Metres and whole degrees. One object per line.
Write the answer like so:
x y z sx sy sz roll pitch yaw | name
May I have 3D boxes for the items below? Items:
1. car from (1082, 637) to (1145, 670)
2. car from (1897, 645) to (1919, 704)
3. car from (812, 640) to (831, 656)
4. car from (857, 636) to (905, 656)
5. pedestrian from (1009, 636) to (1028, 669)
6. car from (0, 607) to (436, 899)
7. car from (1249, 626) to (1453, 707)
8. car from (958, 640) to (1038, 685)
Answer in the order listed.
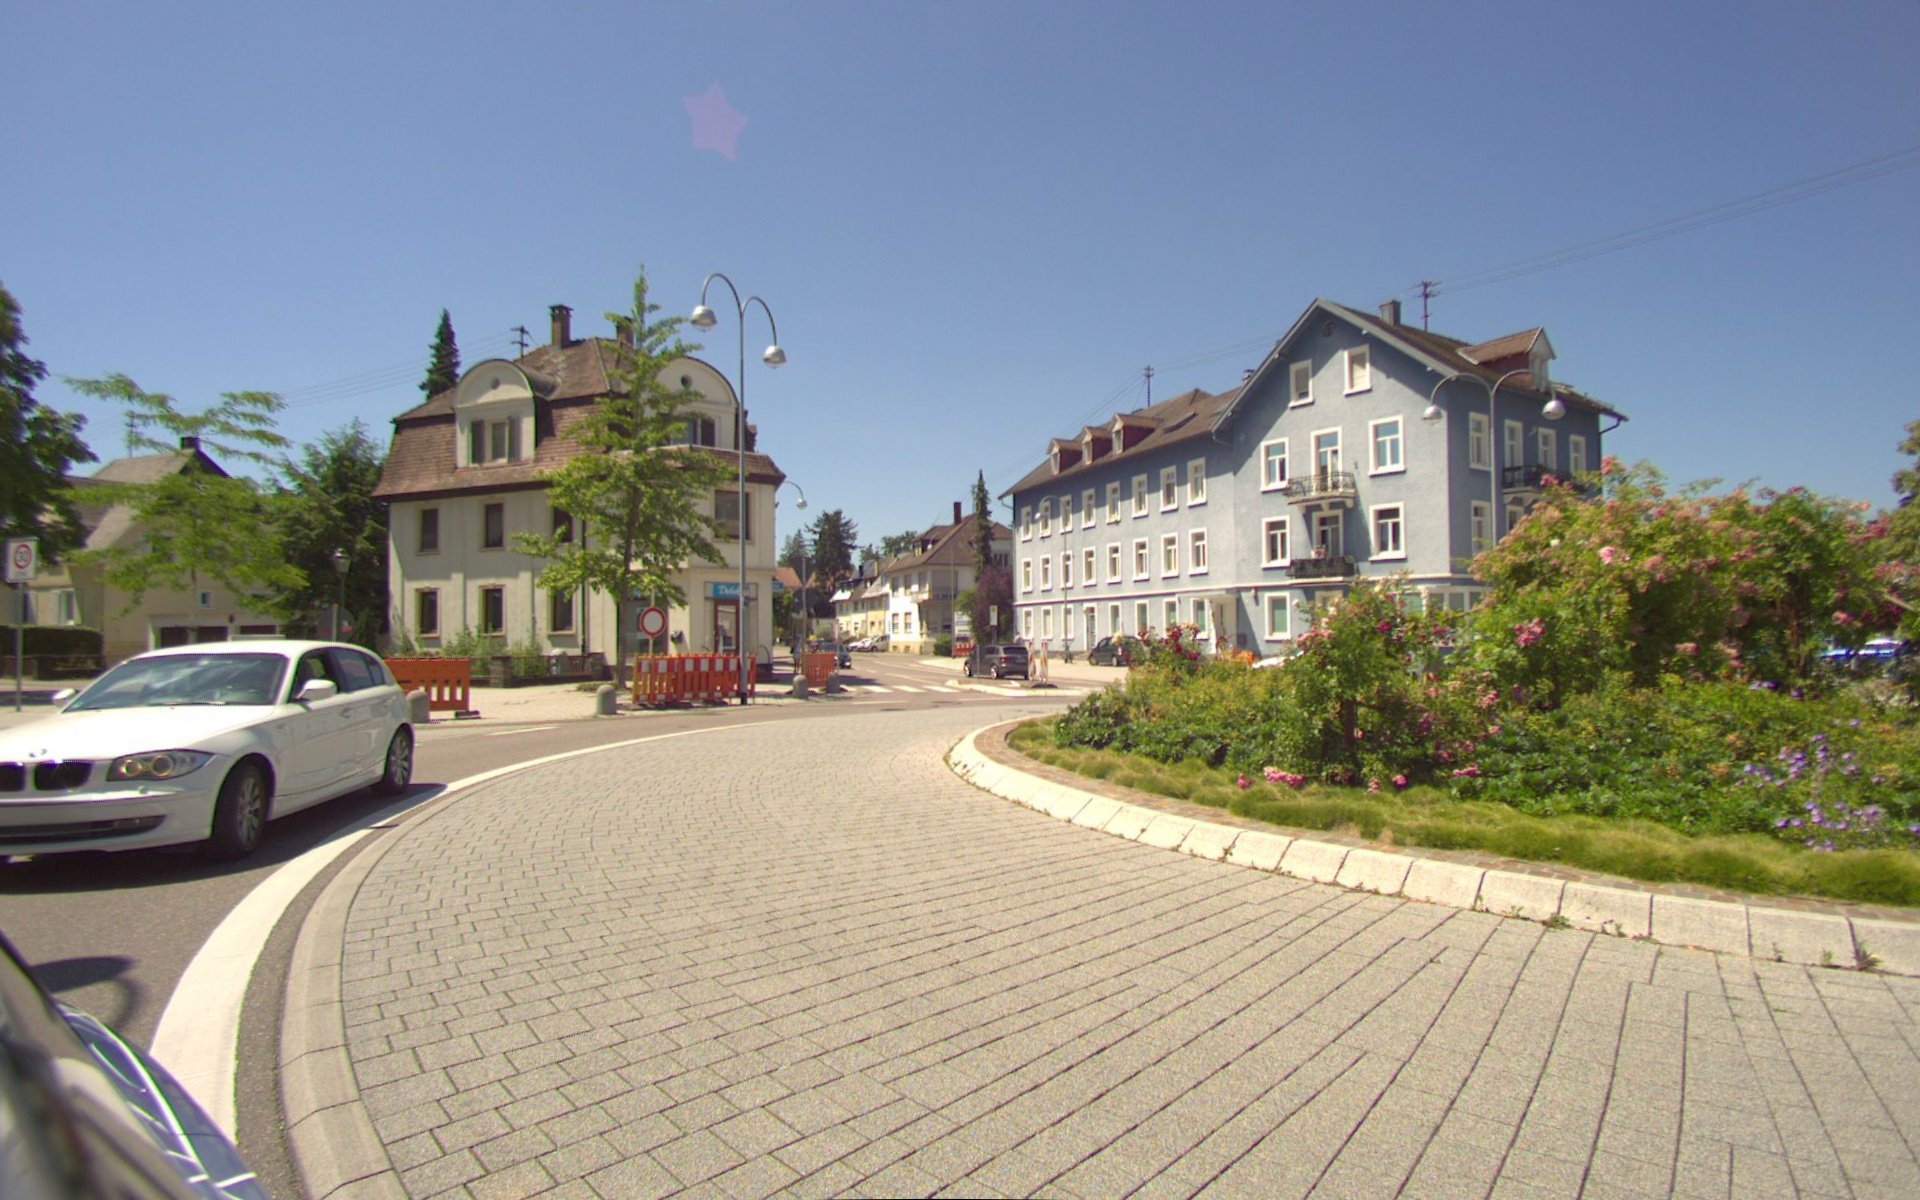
7.775 2.686 51.499 1.555 1.546 3.787 0 -1 -19 | car
30.857 2.227 31.055 4.410 1.683 2.005 -1 -2 -33 | car
-13.761 4.749 100.665 1.639 1.463 4.028 3 -1 -5 | car
-7.748 4.530 99.743 4.289 1.891 1.856 2 -4 -26 | car
3.420 3.049 59.154 0.745 1.862 0.774 -3 -2 -21 | pedestrian
-5.708 0.959 7.659 1.759 1.562 4.135 -4 -2 -8 | car
9.400 1.600 24.607 4.188 1.791 1.779 -2 -2 4 | car
1.514 2.579 41.954 1.750 1.791 4.257 1 -4 -21 | car
